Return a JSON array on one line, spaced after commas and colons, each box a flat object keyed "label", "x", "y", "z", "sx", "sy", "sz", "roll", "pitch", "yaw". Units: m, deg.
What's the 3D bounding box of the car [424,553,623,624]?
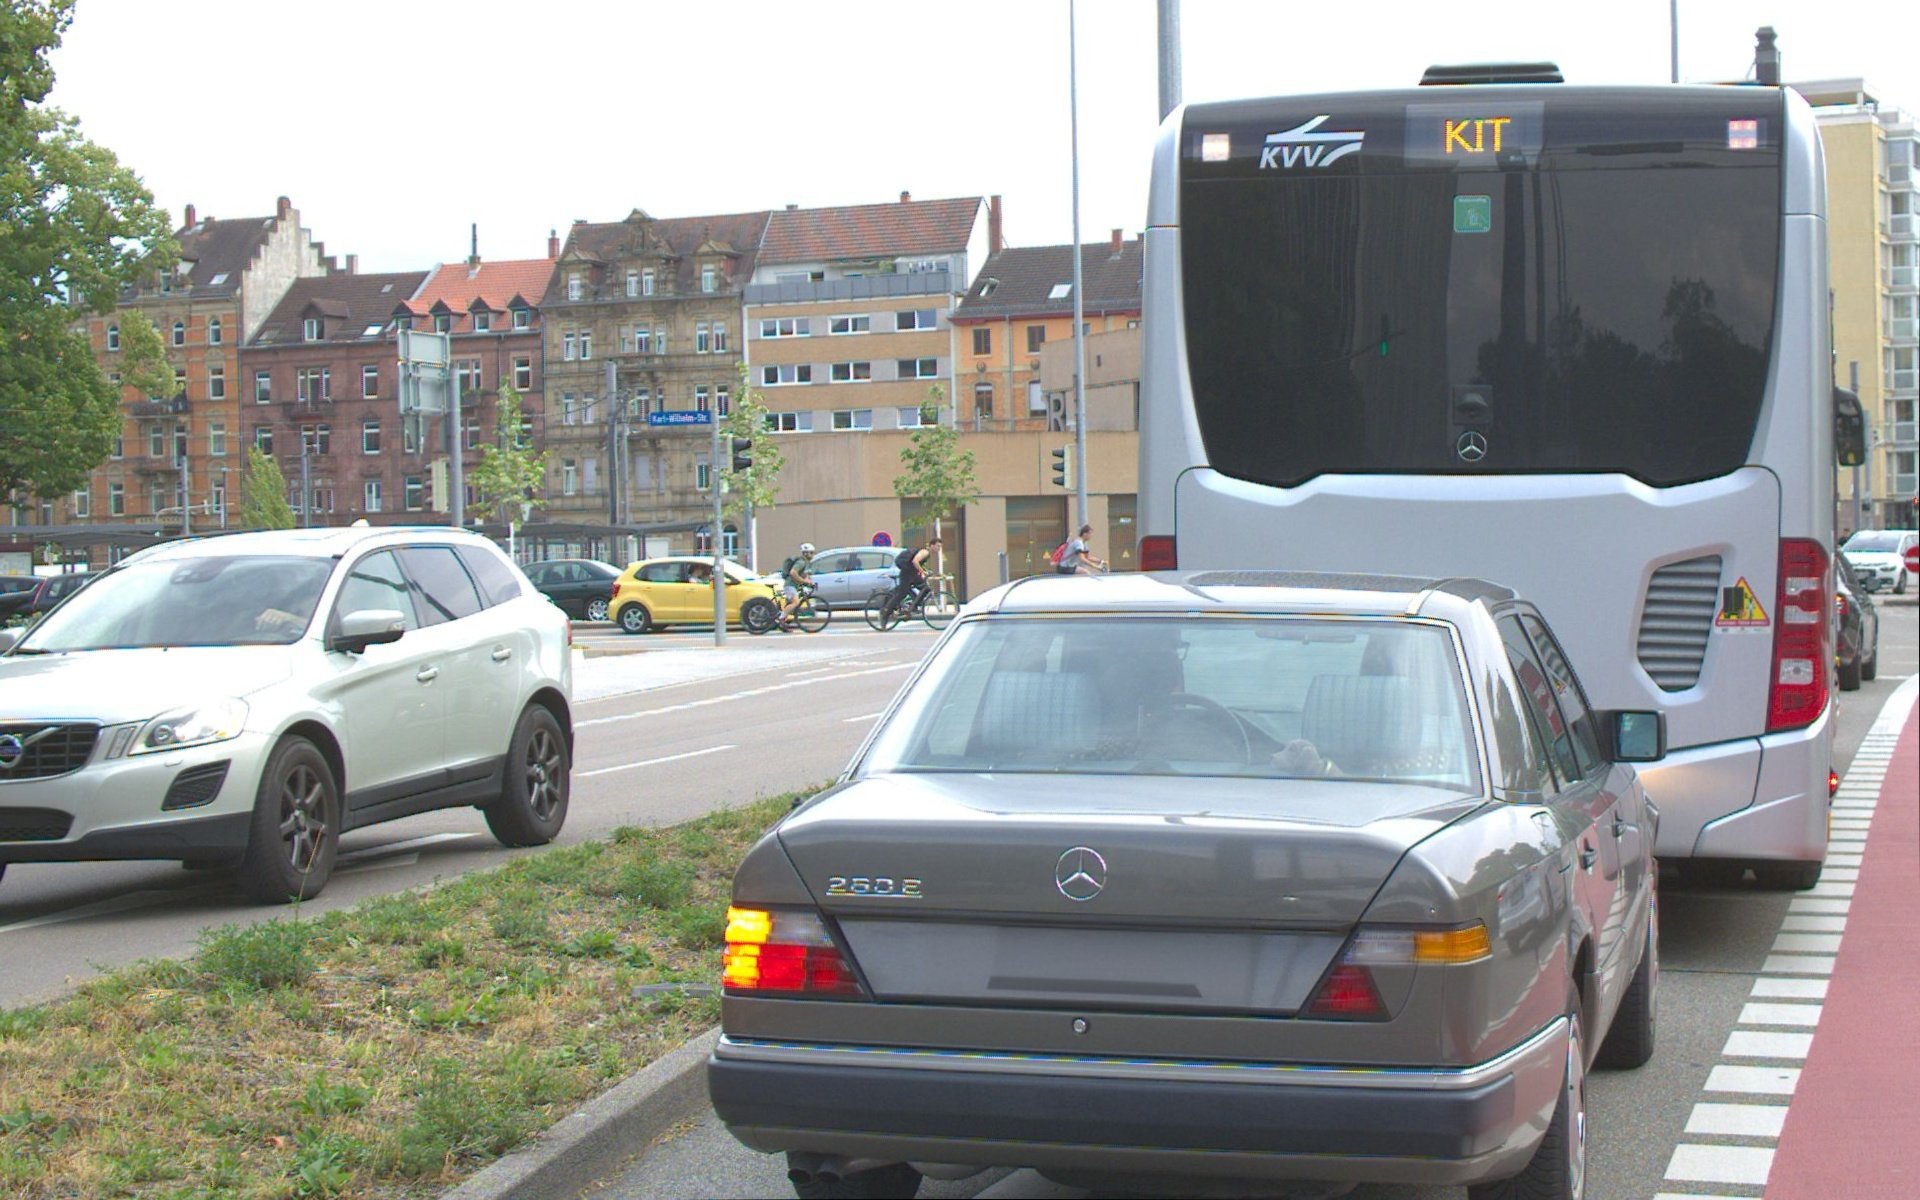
[{"label": "car", "x": -9.012, "y": -0.247, "z": 71.037, "sx": 3.765, "sy": 1.389, "sz": 1.584, "roll": 1, "pitch": 1, "yaw": 11}]

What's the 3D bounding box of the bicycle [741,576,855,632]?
[{"label": "bicycle", "x": -2.964, "y": 0.077, "z": 62.913, "sx": 1.965, "sy": 0.978, "sz": 0.631, "roll": -1, "pitch": 1, "yaw": 11}]

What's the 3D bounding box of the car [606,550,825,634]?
[{"label": "car", "x": -4.646, "y": -0.164, "z": 65.555, "sx": 3.858, "sy": 1.512, "sz": 1.660, "roll": 1, "pitch": 1, "yaw": 11}]

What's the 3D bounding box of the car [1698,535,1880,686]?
[{"label": "car", "x": 8.285, "y": 0.065, "z": 34.420, "sx": 1.656, "sy": 1.392, "sz": 3.858, "roll": -1, "pitch": 1, "yaw": 13}]

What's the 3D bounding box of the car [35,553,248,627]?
[{"label": "car", "x": -16.144, "y": -0.204, "z": 67.873, "sx": 3.765, "sy": 1.389, "sz": 1.584, "roll": 1, "pitch": 1, "yaw": 11}]

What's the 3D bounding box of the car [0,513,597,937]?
[{"label": "car", "x": -3.360, "y": 0.481, "z": 16.318, "sx": 1.782, "sy": 1.724, "sz": 4.370, "roll": -2, "pitch": 1, "yaw": 15}]

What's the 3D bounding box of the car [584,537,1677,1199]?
[{"label": "car", "x": 0.696, "y": 0.617, "z": 8.306, "sx": 1.762, "sy": 1.484, "sz": 4.168, "roll": -1, "pitch": 1, "yaw": 15}]

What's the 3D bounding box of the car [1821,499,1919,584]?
[{"label": "car", "x": 24.326, "y": -1.542, "z": 89.295, "sx": 2.587, "sy": 2.102, "sz": 5.593, "roll": -1, "pitch": 1, "yaw": 27}]

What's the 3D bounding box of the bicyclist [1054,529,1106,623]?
[{"label": "bicyclist", "x": 2.135, "y": -0.430, "z": 61.118, "sx": 0.787, "sy": 1.638, "sz": 0.613, "roll": -1, "pitch": 1, "yaw": 13}]

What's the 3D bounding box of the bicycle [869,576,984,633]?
[{"label": "bicycle", "x": -0.610, "y": 0.084, "z": 62.177, "sx": 1.965, "sy": 0.978, "sz": 0.630, "roll": -1, "pitch": 1, "yaw": 15}]

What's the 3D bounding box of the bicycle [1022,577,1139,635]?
[{"label": "bicycle", "x": 2.140, "y": 0.113, "z": 61.127, "sx": 1.965, "sy": 0.978, "sz": 0.630, "roll": -1, "pitch": 1, "yaw": 13}]

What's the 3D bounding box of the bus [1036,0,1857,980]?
[{"label": "bus", "x": 2.684, "y": -0.466, "z": 16.085, "sx": 2.833, "sy": 3.379, "sz": 8.178, "roll": -1, "pitch": 1, "yaw": 14}]

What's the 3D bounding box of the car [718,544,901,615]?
[{"label": "car", "x": -3.065, "y": -0.424, "z": 70.110, "sx": 3.672, "sy": 1.389, "sz": 1.585, "roll": 0, "pitch": 1, "yaw": -2}]

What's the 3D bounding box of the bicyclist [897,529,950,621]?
[{"label": "bicyclist", "x": -0.656, "y": -0.454, "z": 62.185, "sx": 0.787, "sy": 1.638, "sz": 0.572, "roll": -1, "pitch": 1, "yaw": 15}]

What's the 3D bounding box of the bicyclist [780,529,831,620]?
[{"label": "bicyclist", "x": -2.824, "y": -0.460, "z": 62.868, "sx": 0.787, "sy": 1.638, "sz": 0.572, "roll": -1, "pitch": 1, "yaw": 11}]

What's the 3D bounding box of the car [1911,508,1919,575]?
[{"label": "car", "x": 28.040, "y": -1.688, "z": 96.900, "sx": 1.809, "sy": 1.844, "sz": 3.995, "roll": -1, "pitch": 1, "yaw": 23}]

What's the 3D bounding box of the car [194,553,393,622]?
[{"label": "car", "x": -13.923, "y": -0.271, "z": 71.888, "sx": 3.765, "sy": 1.389, "sz": 1.584, "roll": 1, "pitch": 1, "yaw": 11}]
